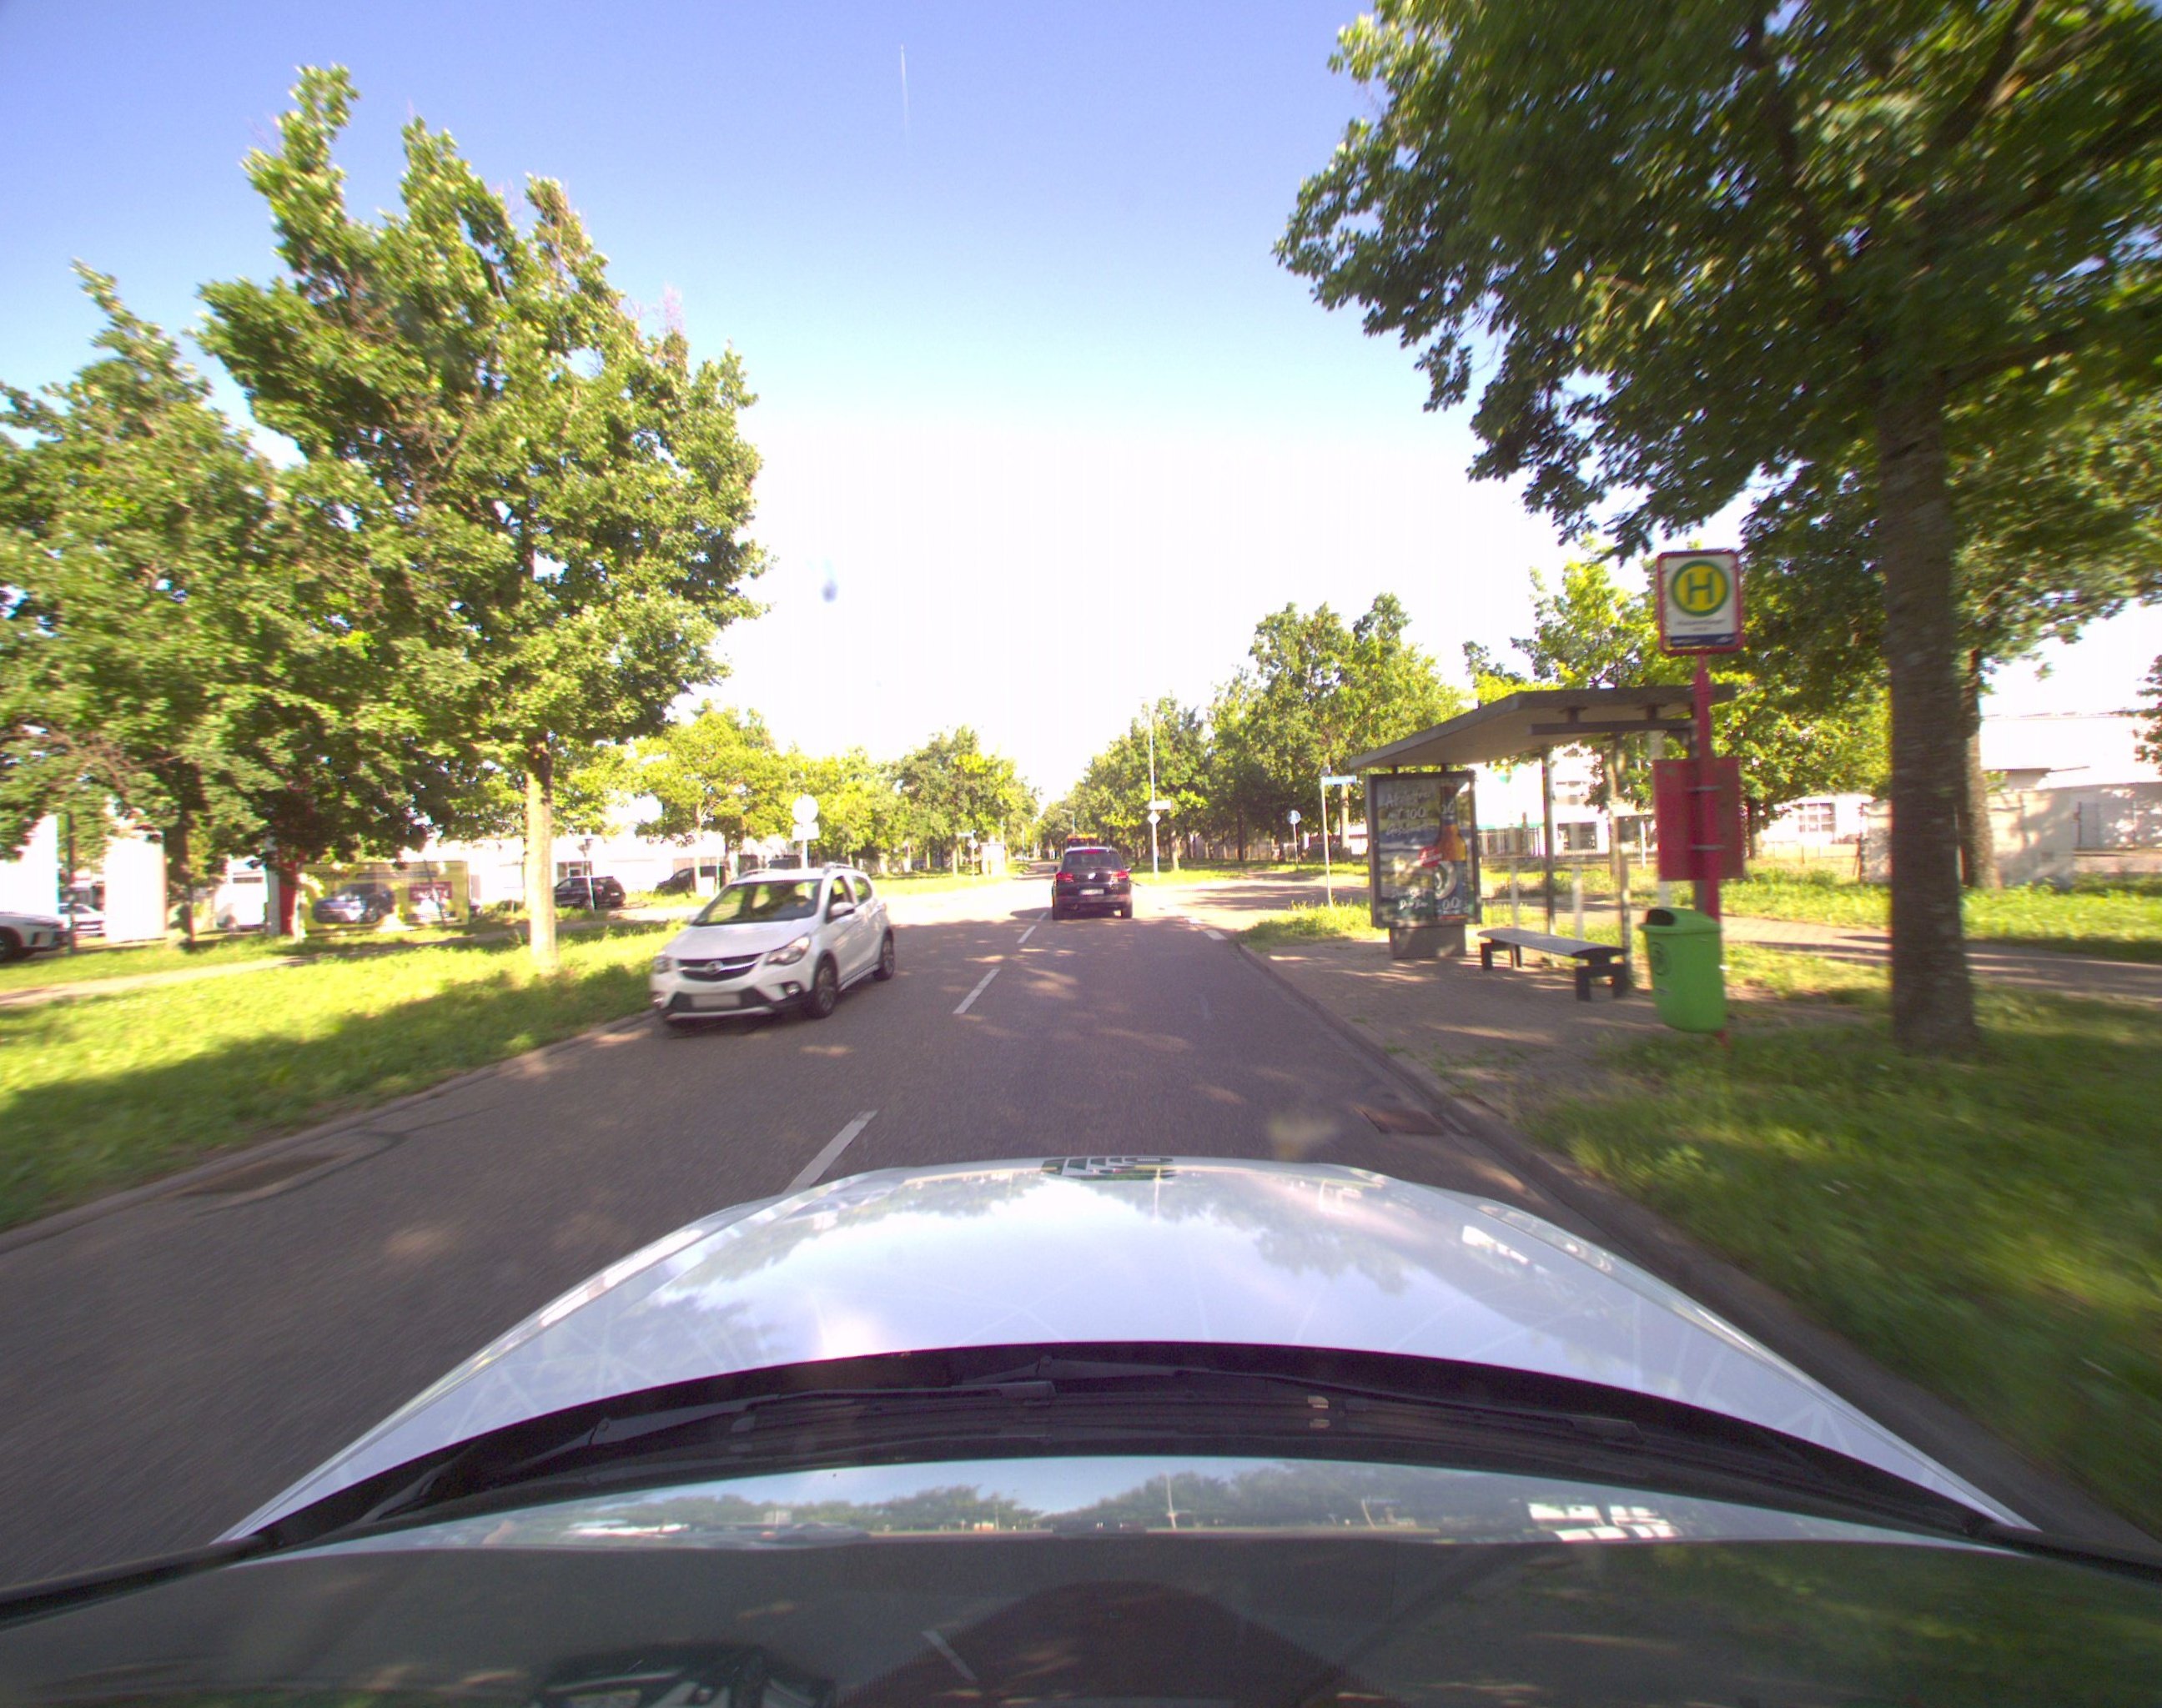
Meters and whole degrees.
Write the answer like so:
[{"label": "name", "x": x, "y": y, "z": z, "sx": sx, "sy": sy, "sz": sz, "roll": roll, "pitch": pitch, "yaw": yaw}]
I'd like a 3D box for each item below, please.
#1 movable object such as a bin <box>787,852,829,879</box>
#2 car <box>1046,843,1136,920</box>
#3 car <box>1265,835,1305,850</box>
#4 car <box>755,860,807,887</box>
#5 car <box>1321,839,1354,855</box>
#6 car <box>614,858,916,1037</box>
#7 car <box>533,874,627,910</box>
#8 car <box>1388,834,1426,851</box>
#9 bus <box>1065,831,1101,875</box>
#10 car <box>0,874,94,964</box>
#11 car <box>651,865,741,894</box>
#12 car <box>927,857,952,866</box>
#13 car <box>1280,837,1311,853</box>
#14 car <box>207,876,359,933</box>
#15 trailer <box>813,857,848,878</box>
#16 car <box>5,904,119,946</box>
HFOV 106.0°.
[{"label": "movable object such as a bin", "x": -23.978, "y": 0.959, "z": 71.654, "sx": 2.095, "sy": 2.217, "sz": 4.460, "roll": -3, "pitch": 0, "yaw": 0}, {"label": "car", "x": 0.296, "y": 0.573, "z": 19.945, "sx": 1.929, "sy": 1.656, "sz": 4.429, "roll": -1, "pitch": 1, "yaw": 2}, {"label": "car", "x": 27.149, "y": -1.576, "z": 108.631, "sx": 4.624, "sy": 1.744, "sz": 2.185, "roll": -3, "pitch": 0, "yaw": -8}, {"label": "car", "x": -23.971, "y": 1.515, "z": 65.381, "sx": 2.030, "sy": 1.988, "sz": 5.803, "roll": -3, "pitch": 0, "yaw": -1}, {"label": "car", "x": 30.043, "y": -0.841, "z": 95.637, "sx": 2.179, "sy": 1.744, "sz": 4.636, "roll": -3, "pitch": 0, "yaw": -3}, {"label": "car", "x": -3.328, "y": 0.863, "z": 9.640, "sx": 1.738, "sy": 1.464, "sz": 4.427, "roll": -3, "pitch": 1, "yaw": 0}, {"label": "car", "x": -24.229, "y": 1.824, "z": 39.416, "sx": 3.641, "sy": 1.532, "sz": 1.830, "roll": -3, "pitch": 0, "yaw": 15}, {"label": "car", "x": 29.385, "y": -1.028, "z": 73.534, "sx": 1.761, "sy": 1.383, "sz": 3.763, "roll": -2, "pitch": 0, "yaw": -4}, {"label": "bus", "x": 0.032, "y": -0.123, "z": 70.855, "sx": 2.756, "sy": 3.456, "sz": 11.205, "roll": -3, "pitch": 0, "yaw": -1}, {"label": "car", "x": -26.510, "y": 1.592, "z": 18.472, "sx": 4.884, "sy": 2.013, "sz": 1.976, "roll": -3, "pitch": 0, "yaw": -40}, {"label": "car", "x": -23.470, "y": 1.531, "z": 49.762, "sx": 4.482, "sy": 1.479, "sz": 1.943, "roll": -3, "pitch": 0, "yaw": 3}, {"label": "car", "x": -25.315, "y": 1.313, "z": 145.724, "sx": 4.185, "sy": 1.321, "sz": 1.941, "roll": -3, "pitch": 0, "yaw": -1}, {"label": "car", "x": 25.007, "y": -1.059, "z": 94.994, "sx": 2.178, "sy": 1.744, "sz": 4.639, "roll": -3, "pitch": 0, "yaw": -2}, {"label": "car", "x": -30.451, "y": 1.929, "z": 31.085, "sx": 4.970, "sy": 1.906, "sz": 1.950, "roll": -3, "pitch": 0, "yaw": 17}, {"label": "trailer", "x": -24.178, "y": 1.292, "z": 78.785, "sx": 2.096, "sy": 1.914, "sz": 3.740, "roll": -3, "pitch": 0, "yaw": 0}, {"label": "car", "x": -42.830, "y": 2.954, "z": 34.243, "sx": 3.953, "sy": 1.511, "sz": 1.811, "roll": -2, "pitch": 1, "yaw": 21}]
